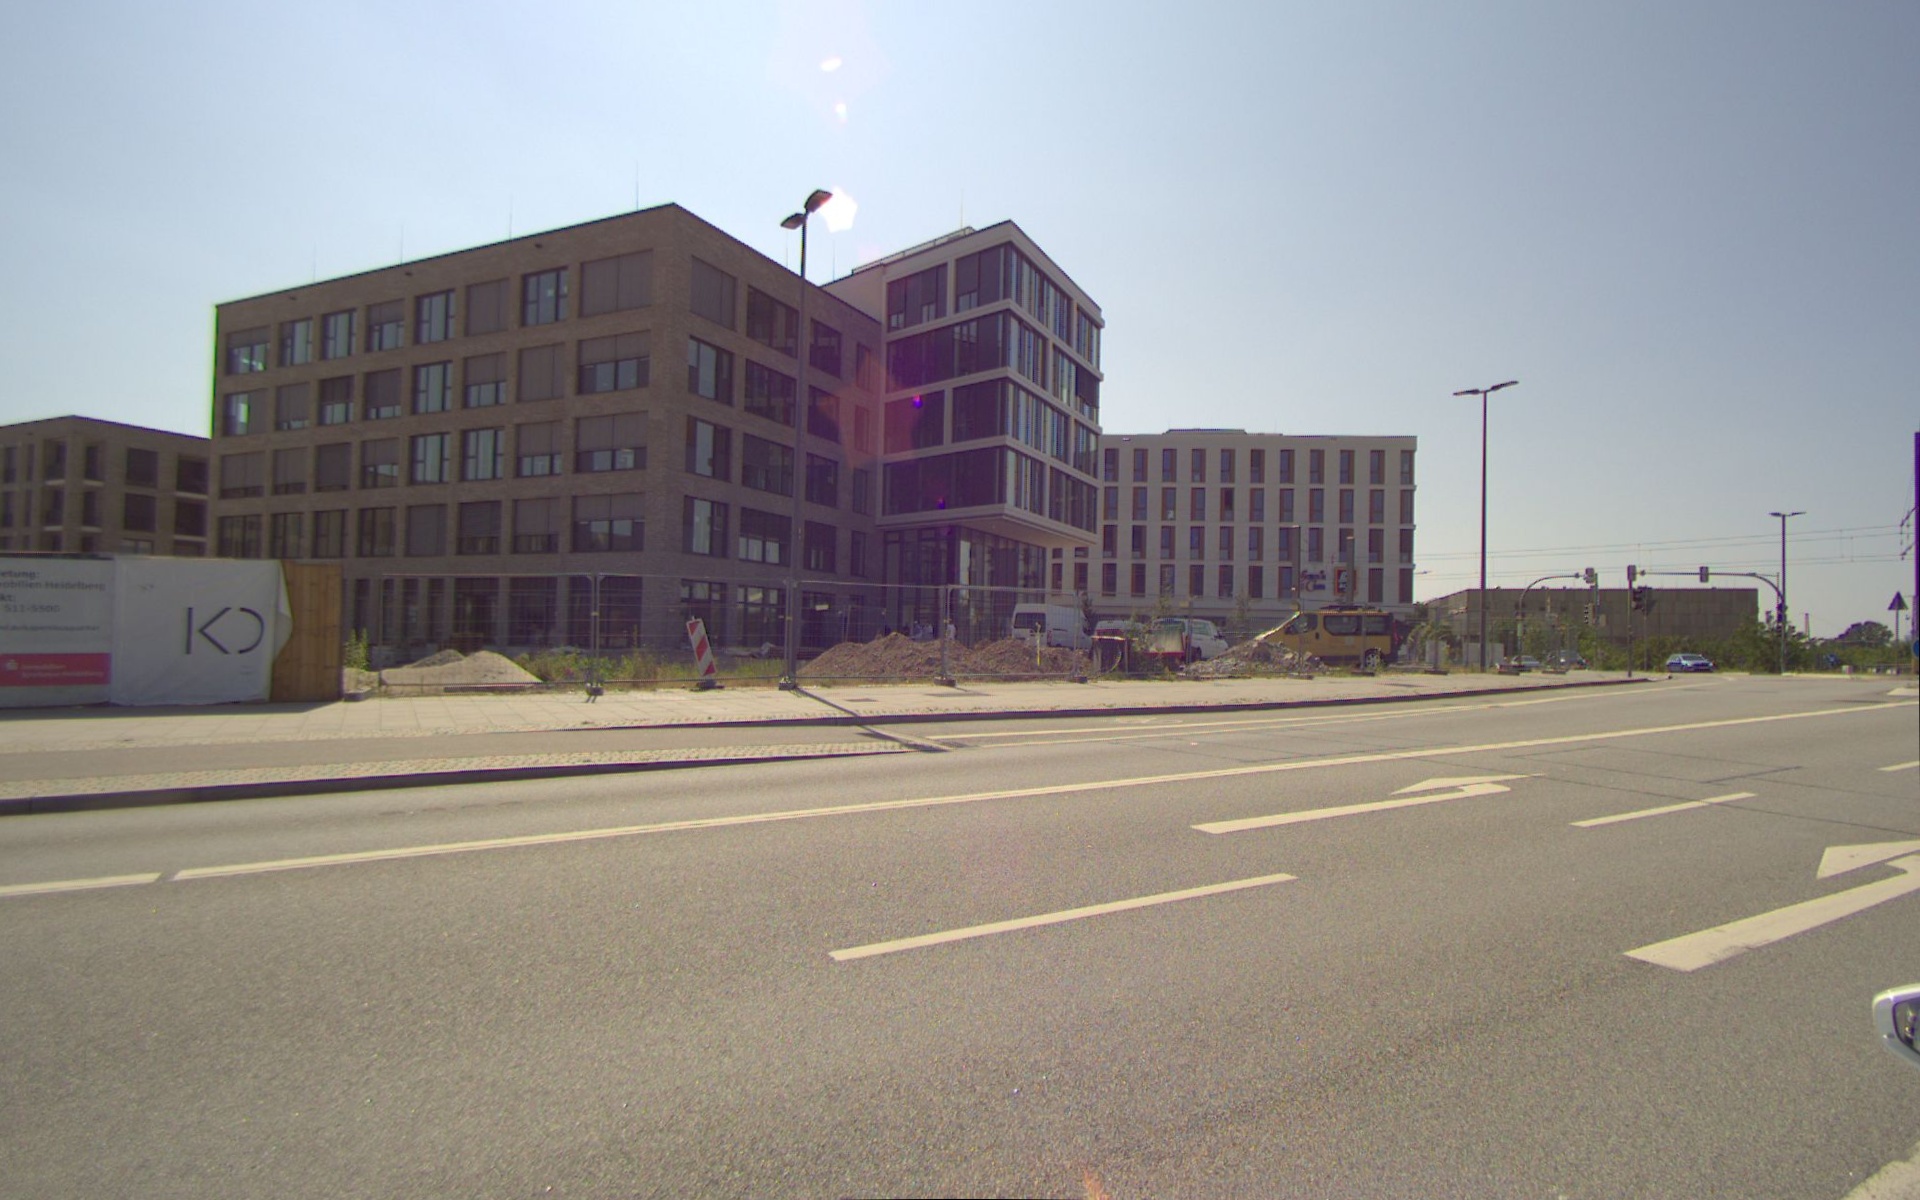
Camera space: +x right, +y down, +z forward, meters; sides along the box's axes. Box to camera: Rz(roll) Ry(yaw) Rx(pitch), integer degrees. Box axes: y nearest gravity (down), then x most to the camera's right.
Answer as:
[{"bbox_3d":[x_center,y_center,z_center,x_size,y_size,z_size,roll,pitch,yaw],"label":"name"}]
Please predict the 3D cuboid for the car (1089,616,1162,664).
[{"bbox_3d":[7.223,1.704,43.601,1.759,1.881,3.842,3,0,32],"label":"car"}]

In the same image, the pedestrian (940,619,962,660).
[{"bbox_3d":[-0.396,1.712,43.805,0.734,1.741,0.699,2,0,16],"label":"pedestrian"}]

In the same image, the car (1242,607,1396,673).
[{"bbox_3d":[11.976,1.293,33.786,4.533,1.988,1.991,2,0,9],"label":"car"}]

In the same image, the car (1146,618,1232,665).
[{"bbox_3d":[9.663,1.689,42.188,1.841,1.797,4.637,2,0,36],"label":"car"}]

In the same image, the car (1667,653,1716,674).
[{"bbox_3d":[52.268,4.502,71.877,1.787,1.348,4.000,2,-2,20],"label":"car"}]

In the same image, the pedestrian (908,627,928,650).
[{"bbox_3d":[-1.970,1.827,47.387,0.734,1.041,0.699,2,0,16],"label":"pedestrian"}]

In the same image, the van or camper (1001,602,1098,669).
[{"bbox_3d":[4.104,1.550,45.054,2.273,2.772,4.975,2,0,32],"label":"van or camper"}]

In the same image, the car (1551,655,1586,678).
[{"bbox_3d":[44.324,4.819,73.235,1.646,1.496,3.405,0,-1,22],"label":"car"}]

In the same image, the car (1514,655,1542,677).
[{"bbox_3d":[46.696,5.410,82.617,1.541,1.608,3.477,2,0,23],"label":"car"}]

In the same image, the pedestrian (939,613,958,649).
[{"bbox_3d":[-0.565,1.518,49.105,0.734,1.741,0.699,2,0,16],"label":"pedestrian"}]
